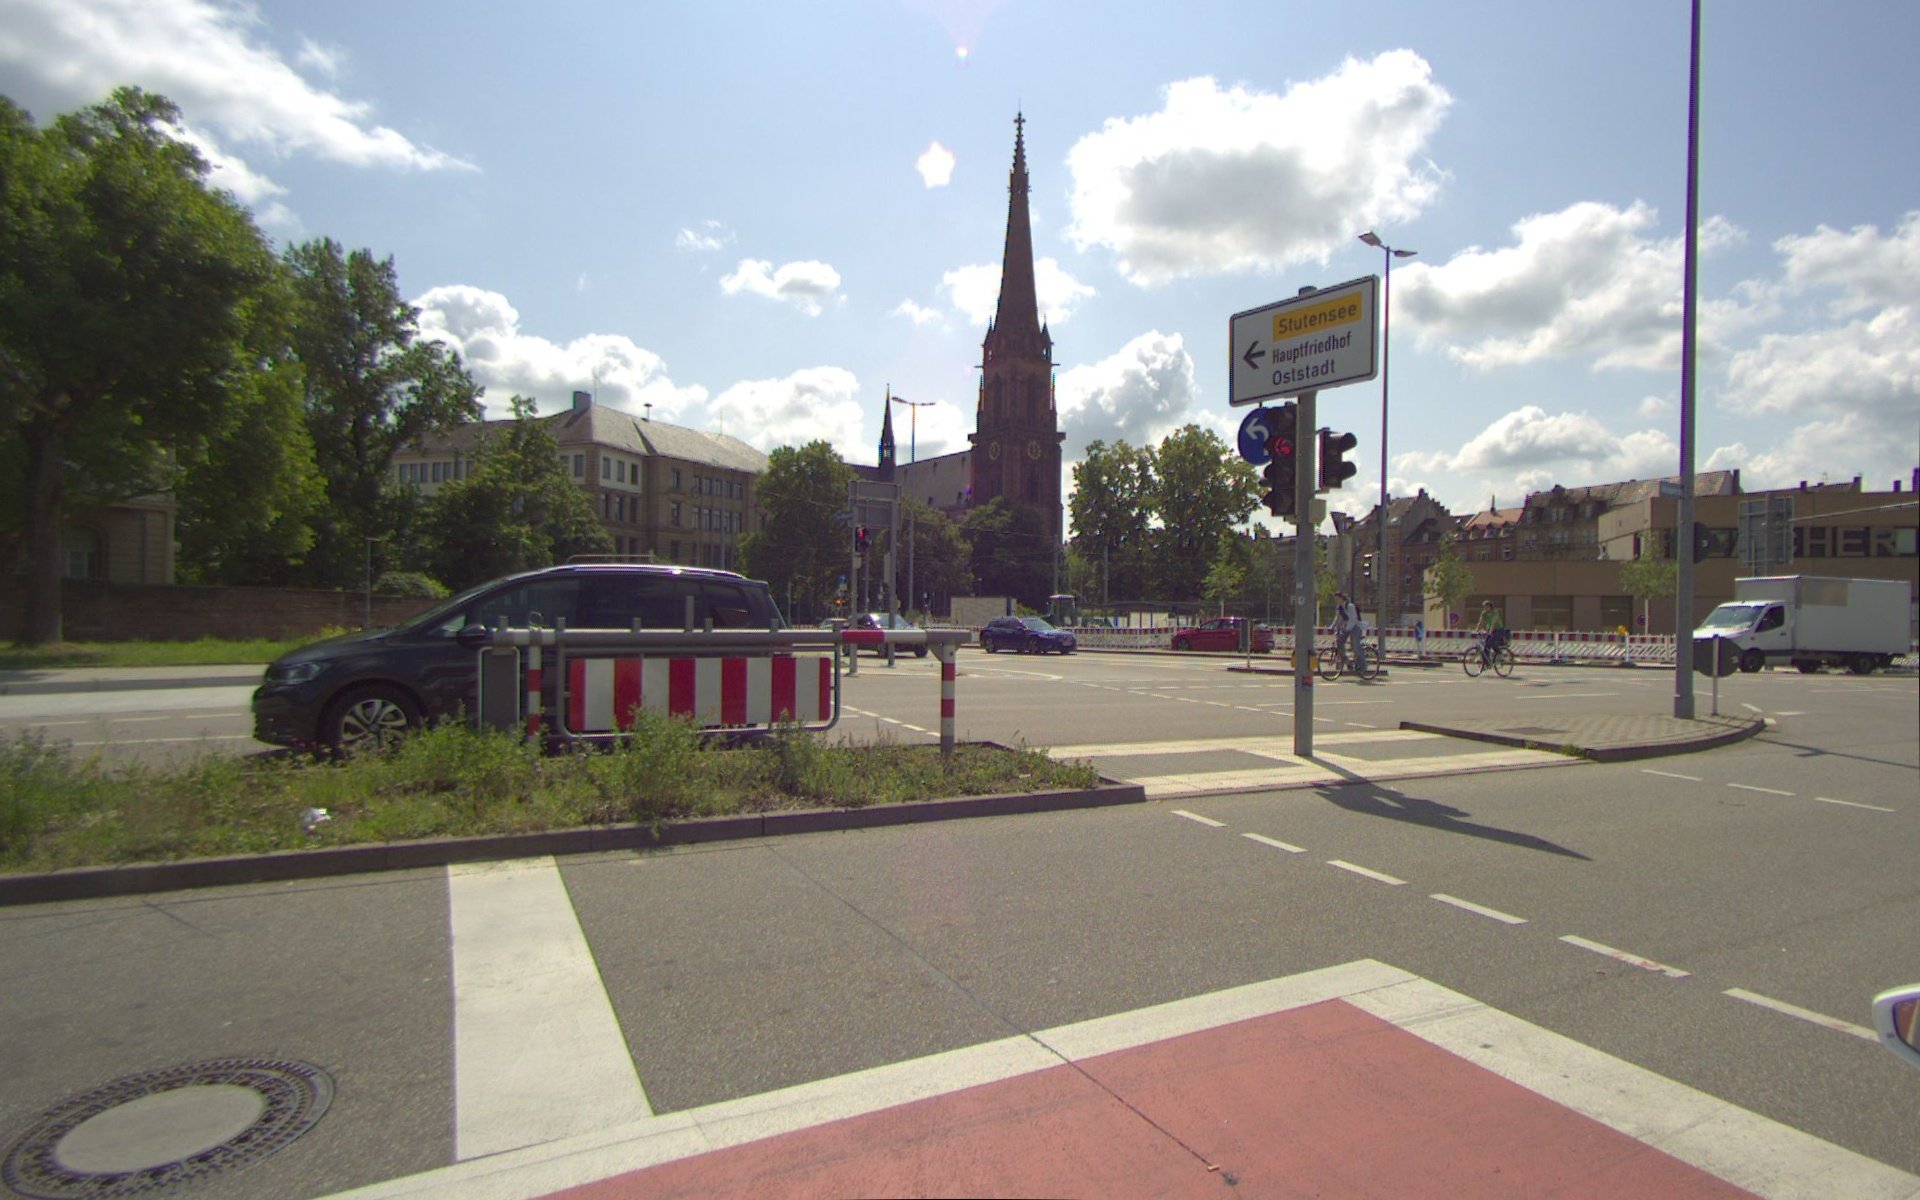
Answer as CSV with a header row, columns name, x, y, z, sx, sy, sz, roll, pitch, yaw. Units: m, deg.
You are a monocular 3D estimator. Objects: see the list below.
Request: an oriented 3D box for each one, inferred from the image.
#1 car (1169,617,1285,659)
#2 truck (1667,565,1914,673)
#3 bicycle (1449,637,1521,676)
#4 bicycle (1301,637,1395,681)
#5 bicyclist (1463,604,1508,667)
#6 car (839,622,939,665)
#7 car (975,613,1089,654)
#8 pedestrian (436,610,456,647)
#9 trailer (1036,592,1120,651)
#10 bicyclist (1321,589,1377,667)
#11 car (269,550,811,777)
name,x,y,z,sx,sy,sz,roll,pitch,yaw
car,10.232,1.436,38.625,3.853,1.506,1.987,0,-1,45
truck,26.758,0.635,32.386,7.202,3.108,1.996,2,0,-12
bicycle,12.617,1.352,24.119,1.718,0.901,0.566,1,-1,-23
bicycle,8.364,1.256,21.611,2.084,0.901,0.772,1,-1,-30
bicyclist,12.617,0.847,24.126,0.825,1.481,0.564,1,-1,-22
car,-2.812,1.642,38.966,1.979,1.506,4.470,1,-1,-33
car,2.798,1.292,39.793,1.982,1.506,4.619,1,-1,-37
pedestrian,-24.531,1.366,47.934,0.478,1.718,0.680,2,0,18
trailer,6.259,1.137,53.778,4.278,2.952,2.001,2,0,3
bicyclist,8.357,0.593,21.611,0.833,1.640,0.772,1,-1,-30
car,-3.619,0.494,9.089,4.103,1.645,1.873,1,0,-28
